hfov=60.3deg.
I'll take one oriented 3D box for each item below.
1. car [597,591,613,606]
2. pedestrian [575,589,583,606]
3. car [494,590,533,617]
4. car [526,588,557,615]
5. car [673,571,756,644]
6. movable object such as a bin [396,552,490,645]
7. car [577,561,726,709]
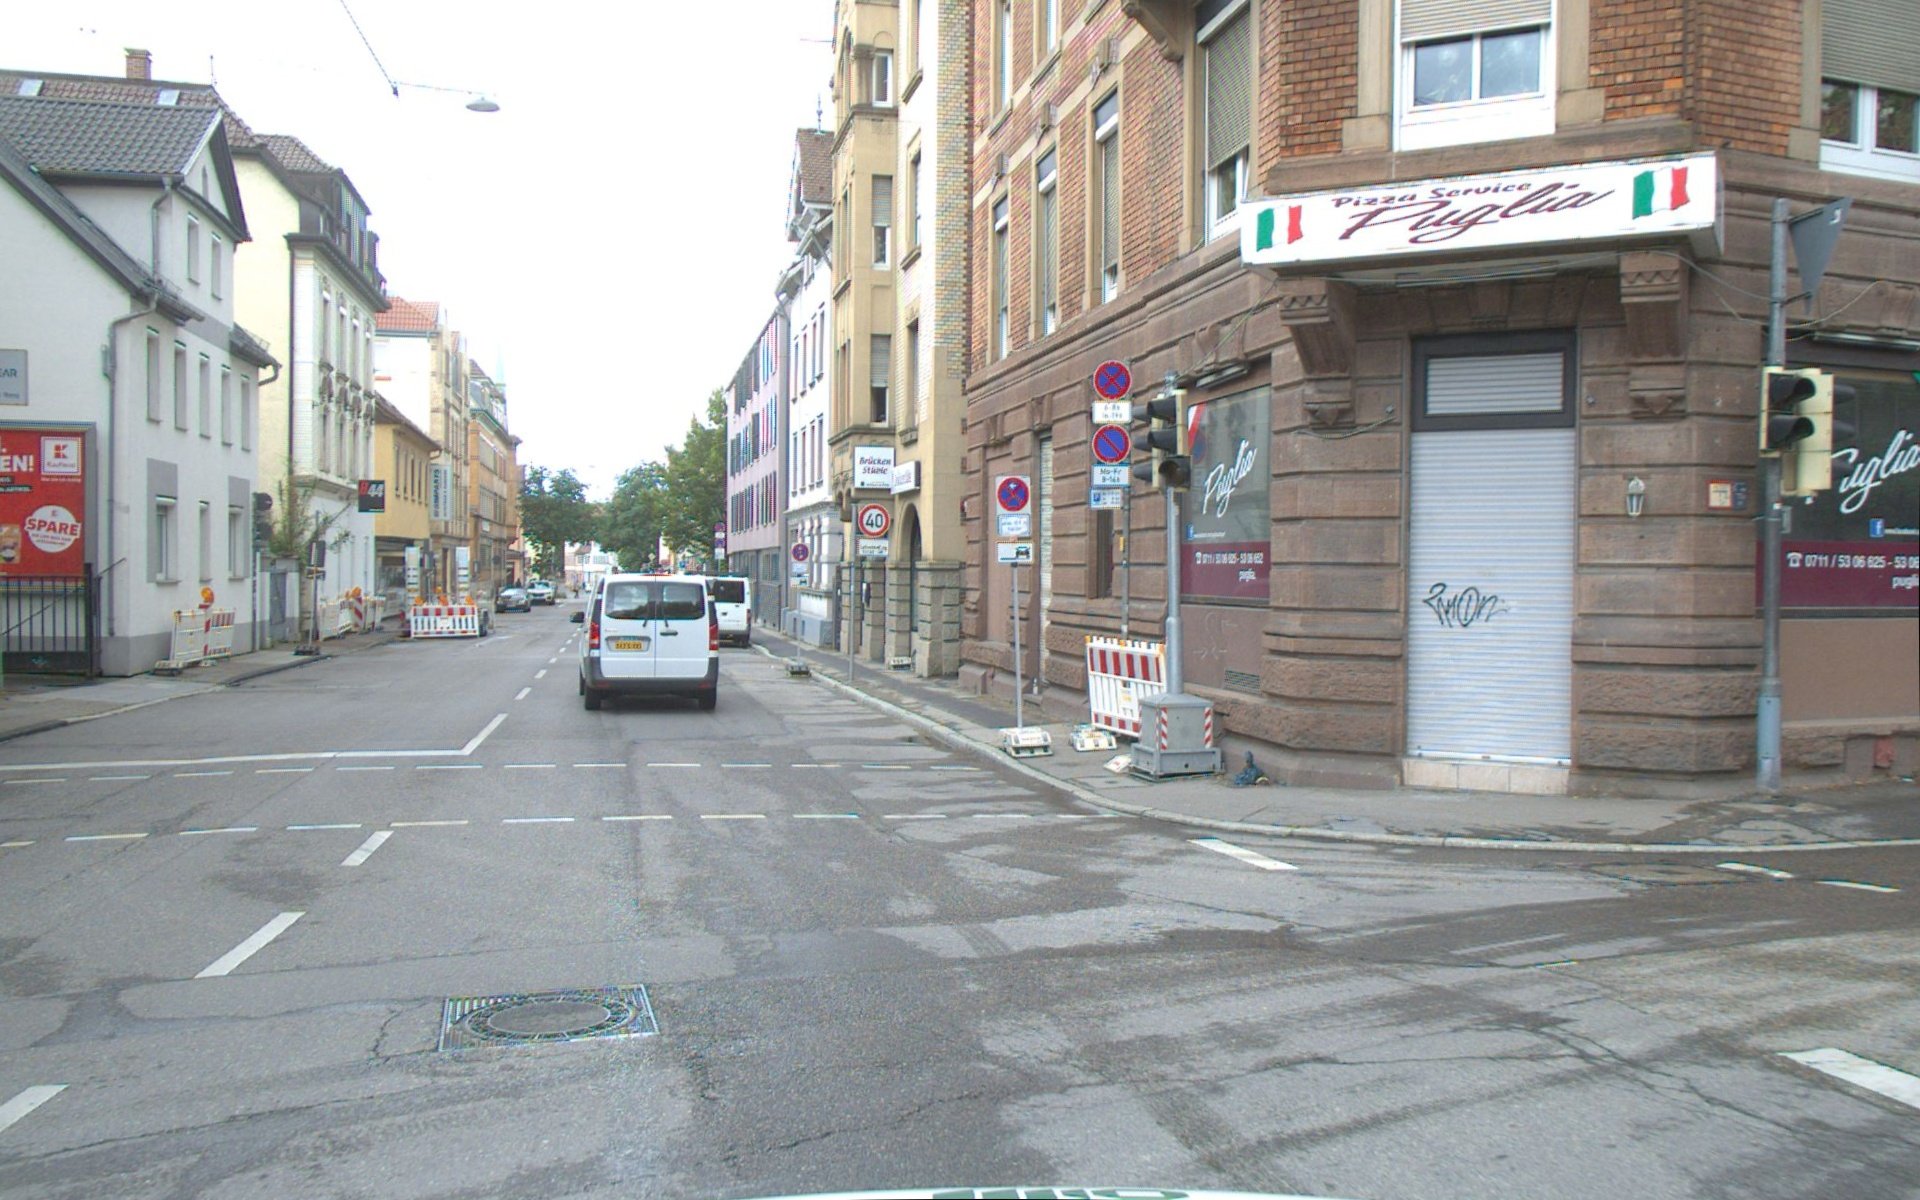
[{"bbox_3d":[-42.583,-0.204,198.393,1.723,1.702,3.658,0,-1,-11],"label":"car"},{"bbox_3d":[-35.780,-0.244,155.432,0.611,1.566,0.491,0,-1,4],"label":"pedestrian"},{"bbox_3d":[-25.225,0.162,93.520,1.959,1.467,3.987,-1,0,-13],"label":"car"},{"bbox_3d":[-29.780,0.085,117.847,1.959,1.771,3.987,2,0,-13],"label":"car"},{"bbox_3d":[-7.557,0.211,50.571,2.092,2.040,4.910,2,0,-13],"label":"car"},{"bbox_3d":[-16.809,-0.072,54.032,2.493,2.874,4.524,-1,1,-13],"label":"movable object such as a bin"},{"bbox_3d":[-4.674,0.486,24.594,1.860,1.962,4.627,-1,0,-15],"label":"car"}]
